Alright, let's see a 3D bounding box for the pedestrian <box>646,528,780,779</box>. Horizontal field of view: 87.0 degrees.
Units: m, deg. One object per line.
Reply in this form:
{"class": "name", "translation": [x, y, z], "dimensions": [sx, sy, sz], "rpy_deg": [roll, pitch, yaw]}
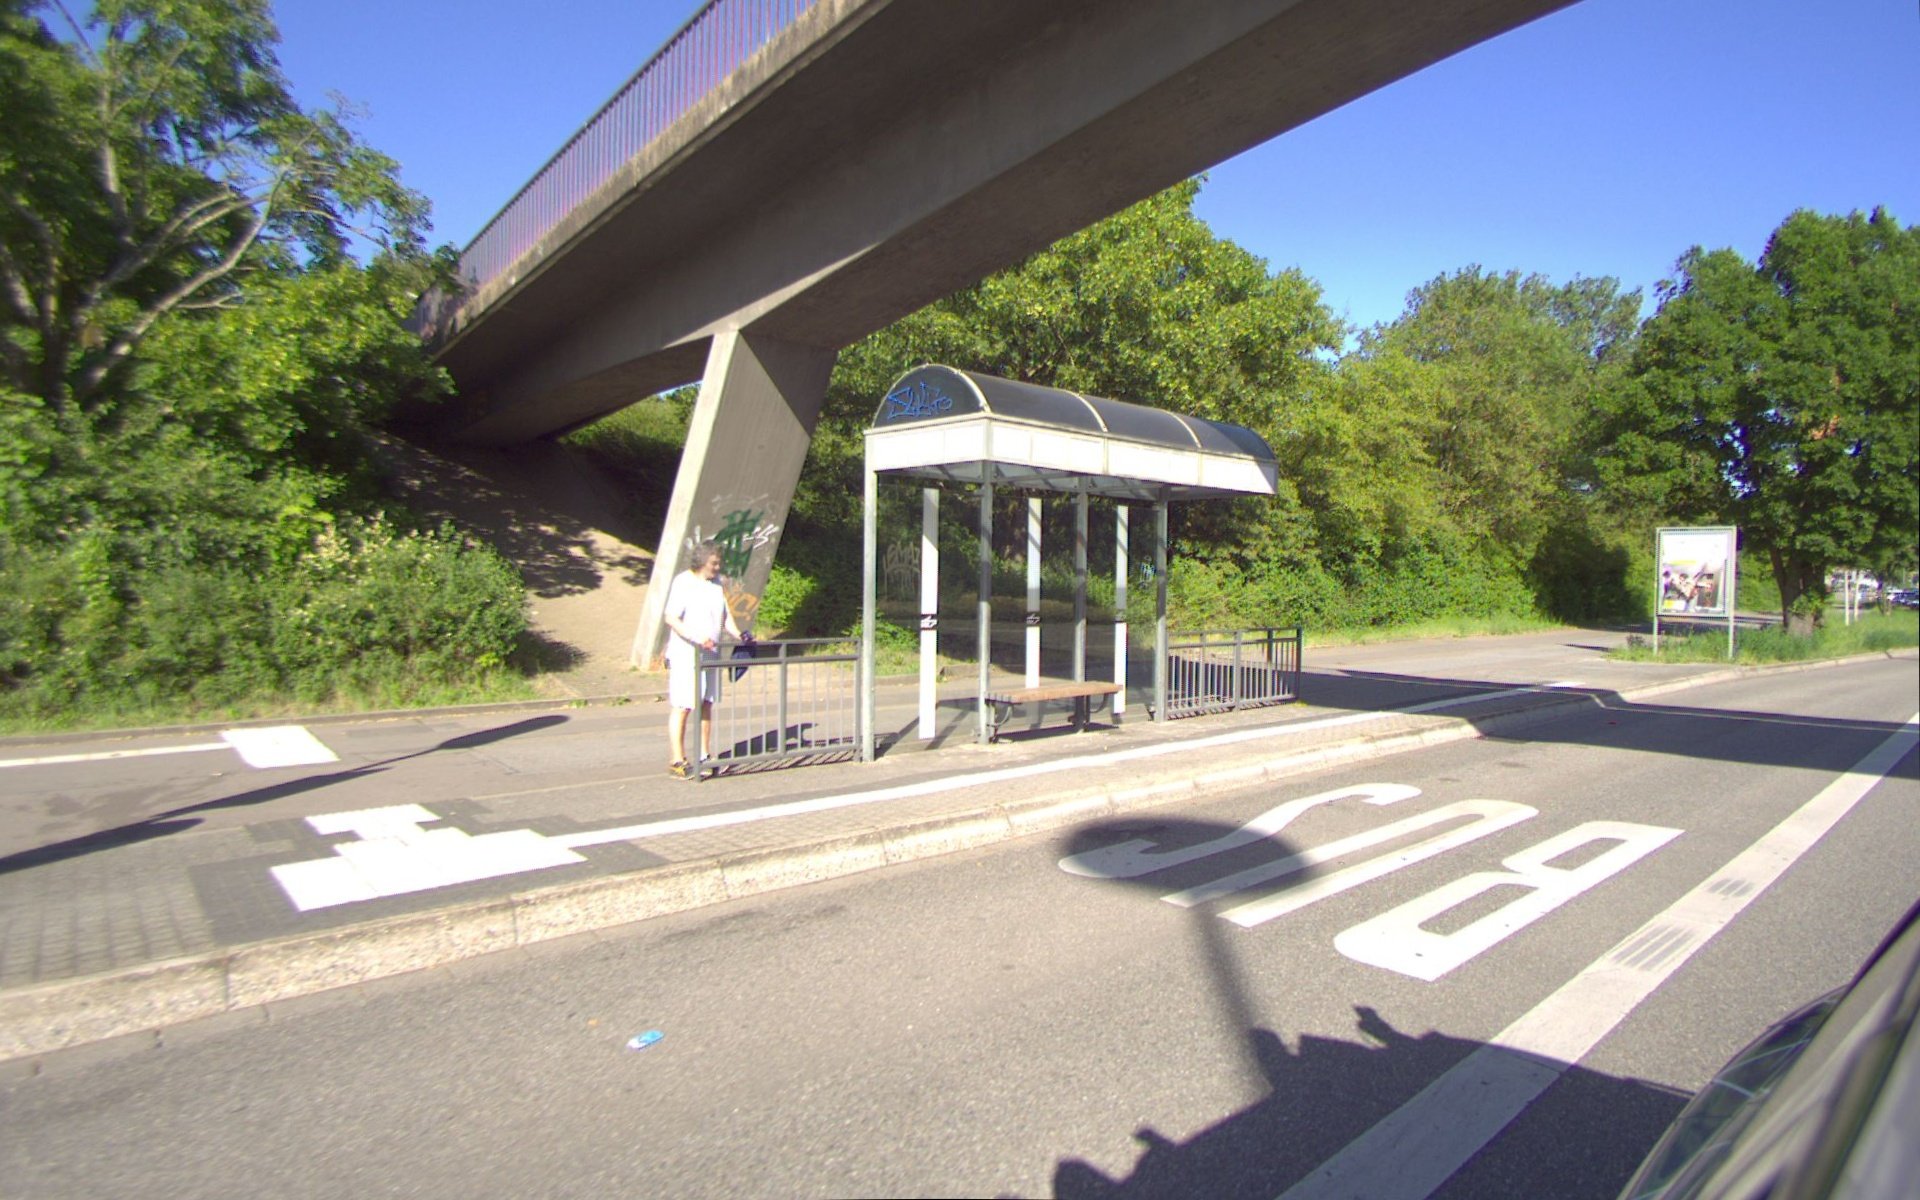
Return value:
{"class": "pedestrian", "translation": [-1.767, 0.351, 7.245], "dimensions": [0.705, 1.683, 0.588], "rpy_deg": [1, 1, -44]}
